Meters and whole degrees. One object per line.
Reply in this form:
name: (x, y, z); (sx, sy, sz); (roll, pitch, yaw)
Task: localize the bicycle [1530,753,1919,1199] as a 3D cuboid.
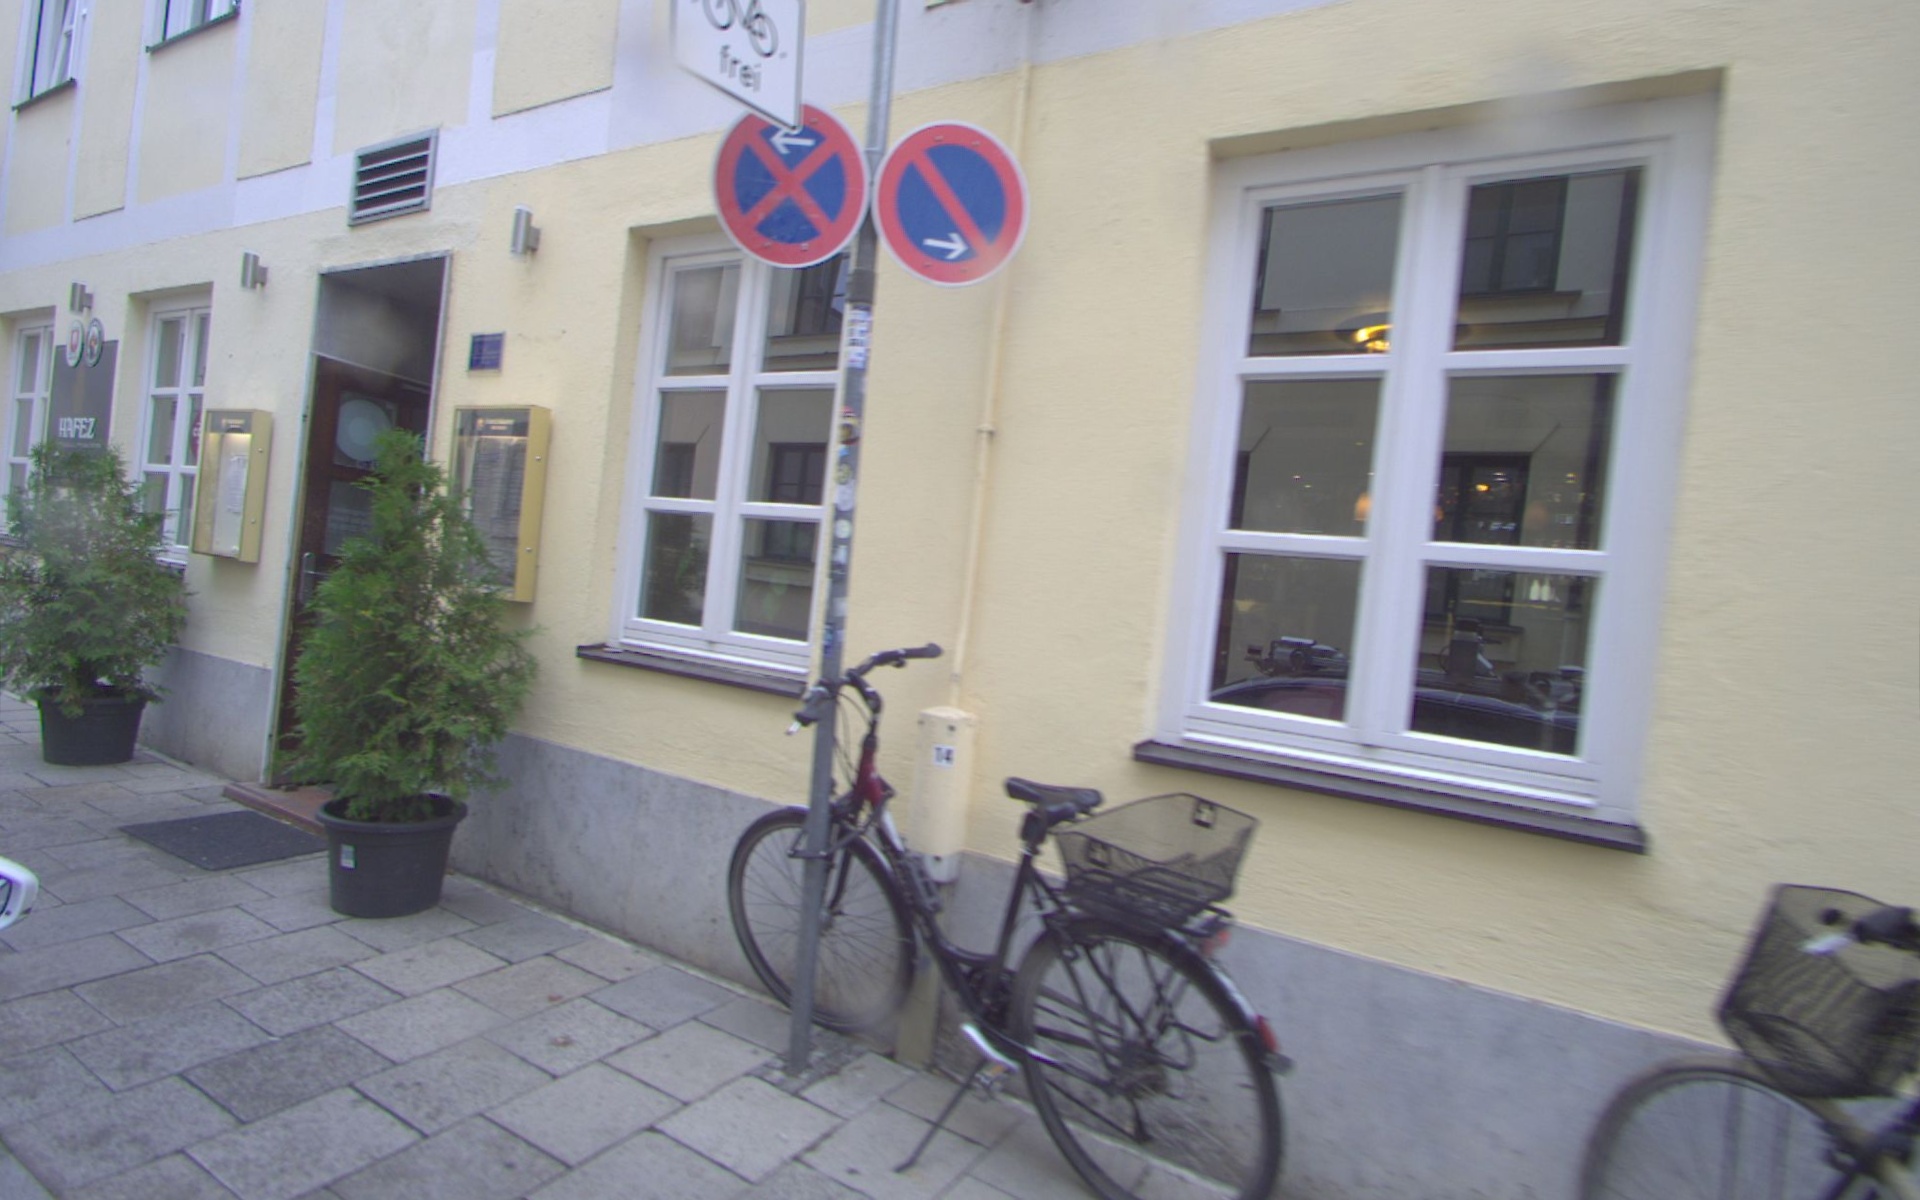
bicycle: (1.934, 0.982, 1.375); (1.955, 1.152, 0.565); (7, 3, 32)

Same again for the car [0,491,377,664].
car: (-9.082, -0.227, 11.197); (1.735, 1.458, 4.021); (9, 0, 32)

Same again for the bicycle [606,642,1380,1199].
bicycle: (-0.009, 0.771, 2.358); (1.656, 1.152, 0.565); (7, 3, 32)
